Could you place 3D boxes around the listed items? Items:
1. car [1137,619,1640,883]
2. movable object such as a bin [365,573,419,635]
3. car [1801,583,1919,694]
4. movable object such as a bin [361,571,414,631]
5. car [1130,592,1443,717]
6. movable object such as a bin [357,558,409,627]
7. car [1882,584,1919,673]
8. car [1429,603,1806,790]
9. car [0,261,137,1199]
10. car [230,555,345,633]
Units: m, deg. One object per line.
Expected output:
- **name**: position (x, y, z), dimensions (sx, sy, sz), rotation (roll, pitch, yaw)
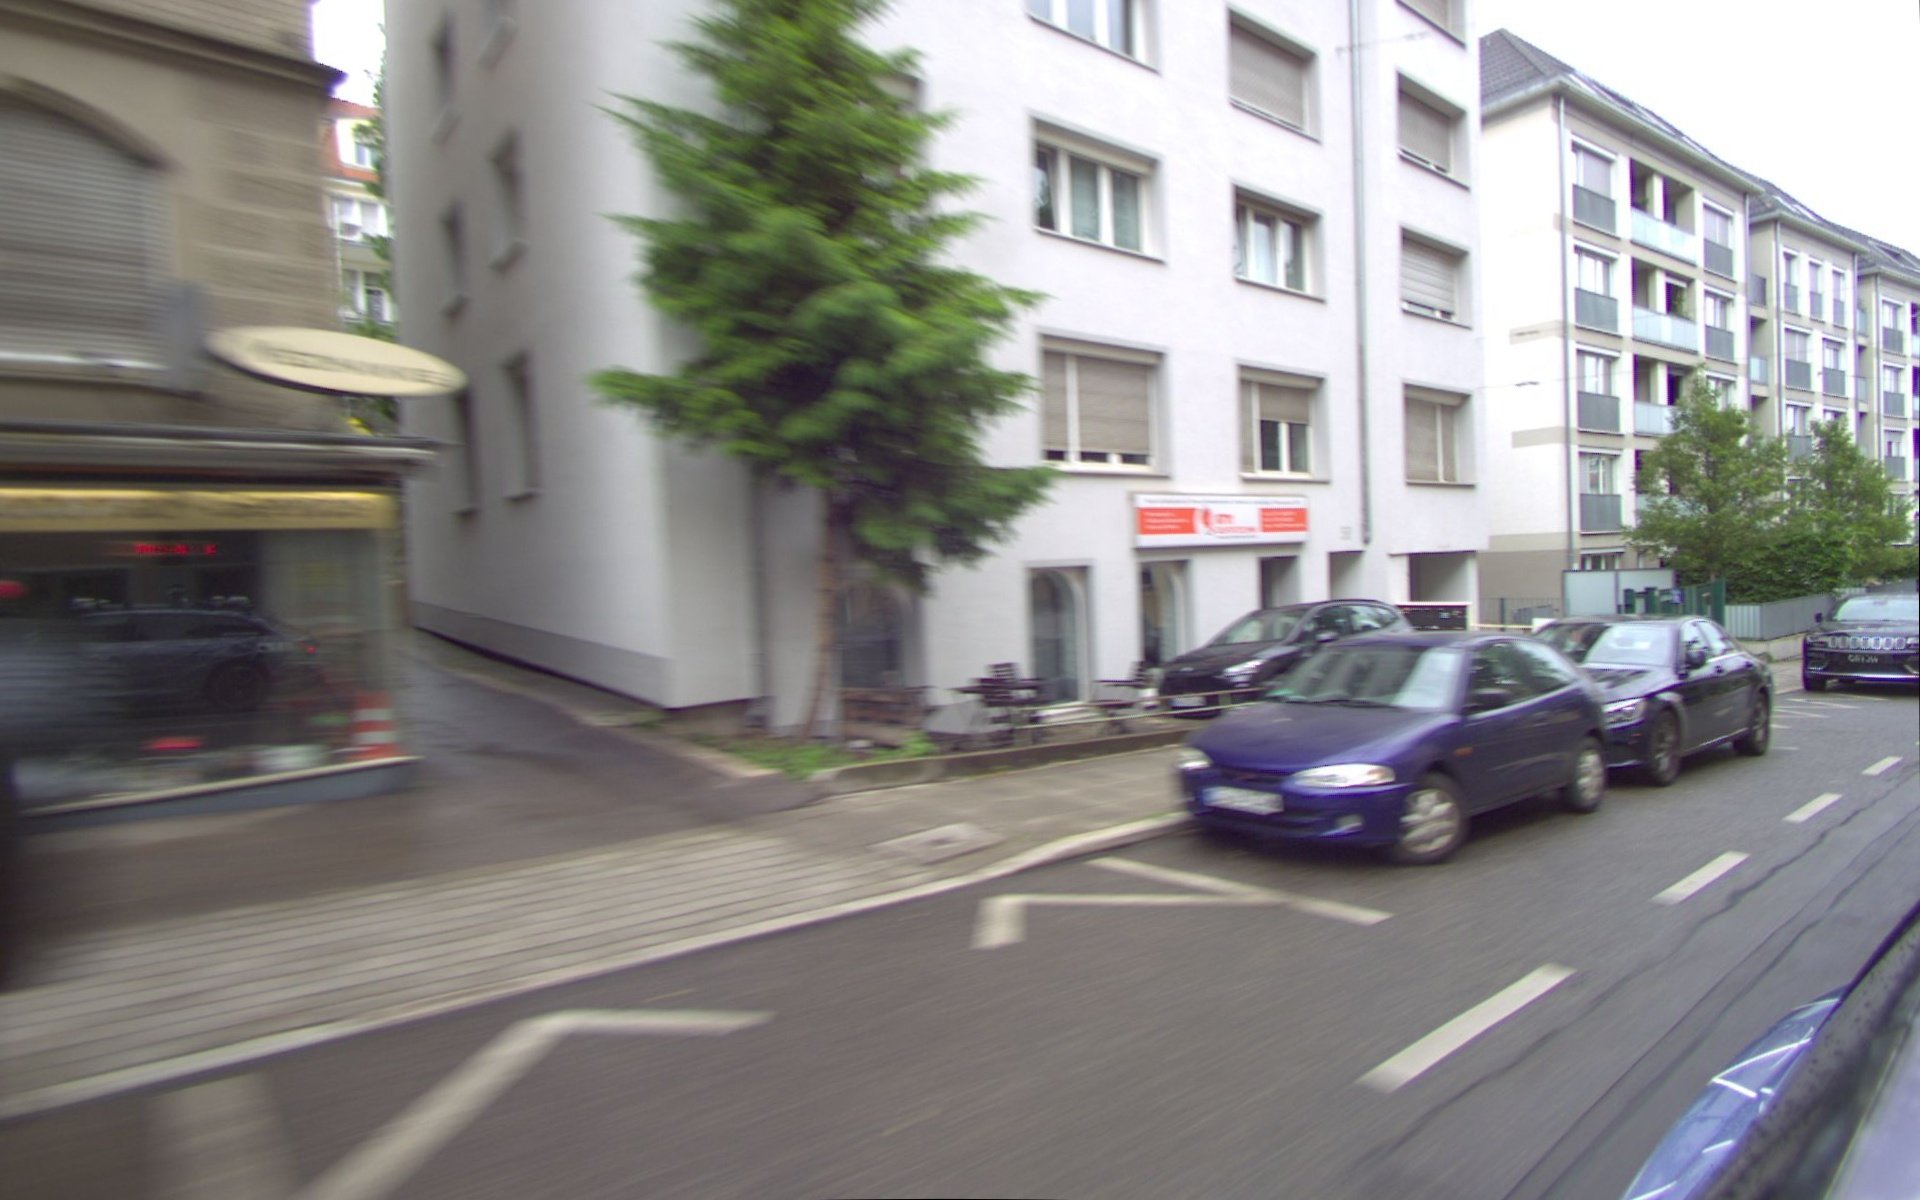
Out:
- **car**: position (3.197, 0.842, 7.260), dimensions (3.811, 1.355, 1.682), rotation (0, -1, -38)
- **movable object such as a bin**: position (-11.248, 0.063, 20.032), dimensions (0.730, 1.123, 0.740), rotation (-7, 7, -40)
- **car**: position (17.226, 0.606, 18.473), dimensions (4.734, 1.818, 1.946), rotation (-1, -1, -39)
- **movable object such as a bin**: position (-11.694, 0.007, 20.678), dimensions (0.730, 1.123, 0.740), rotation (-7, 7, -40)
- **car**: position (4.444, 0.663, 13.620), dimensions (4.072, 1.445, 1.818), rotation (0, -2, -33)
- **movable object such as a bin**: position (-12.160, -0.178, 21.328), dimensions (0.730, 1.362, 0.740), rotation (-7, 7, -40)
- **car**: position (21.535, 0.576, 21.786), dimensions (4.389, 1.818, 1.782), rotation (0, 0, -38)
- **car**: position (6.715, 0.783, 10.134), dimensions (4.527, 1.455, 1.798), rotation (0, -1, -38)
- **car**: position (-4.032, 0.517, 0.699), dimensions (5.260, 2.040, 2.130), rotation (0, -2, -43)
- **car**: position (-15.010, -0.185, 22.497), dimensions (1.768, 1.528, 3.997), rotation (-3, 3, -38)
